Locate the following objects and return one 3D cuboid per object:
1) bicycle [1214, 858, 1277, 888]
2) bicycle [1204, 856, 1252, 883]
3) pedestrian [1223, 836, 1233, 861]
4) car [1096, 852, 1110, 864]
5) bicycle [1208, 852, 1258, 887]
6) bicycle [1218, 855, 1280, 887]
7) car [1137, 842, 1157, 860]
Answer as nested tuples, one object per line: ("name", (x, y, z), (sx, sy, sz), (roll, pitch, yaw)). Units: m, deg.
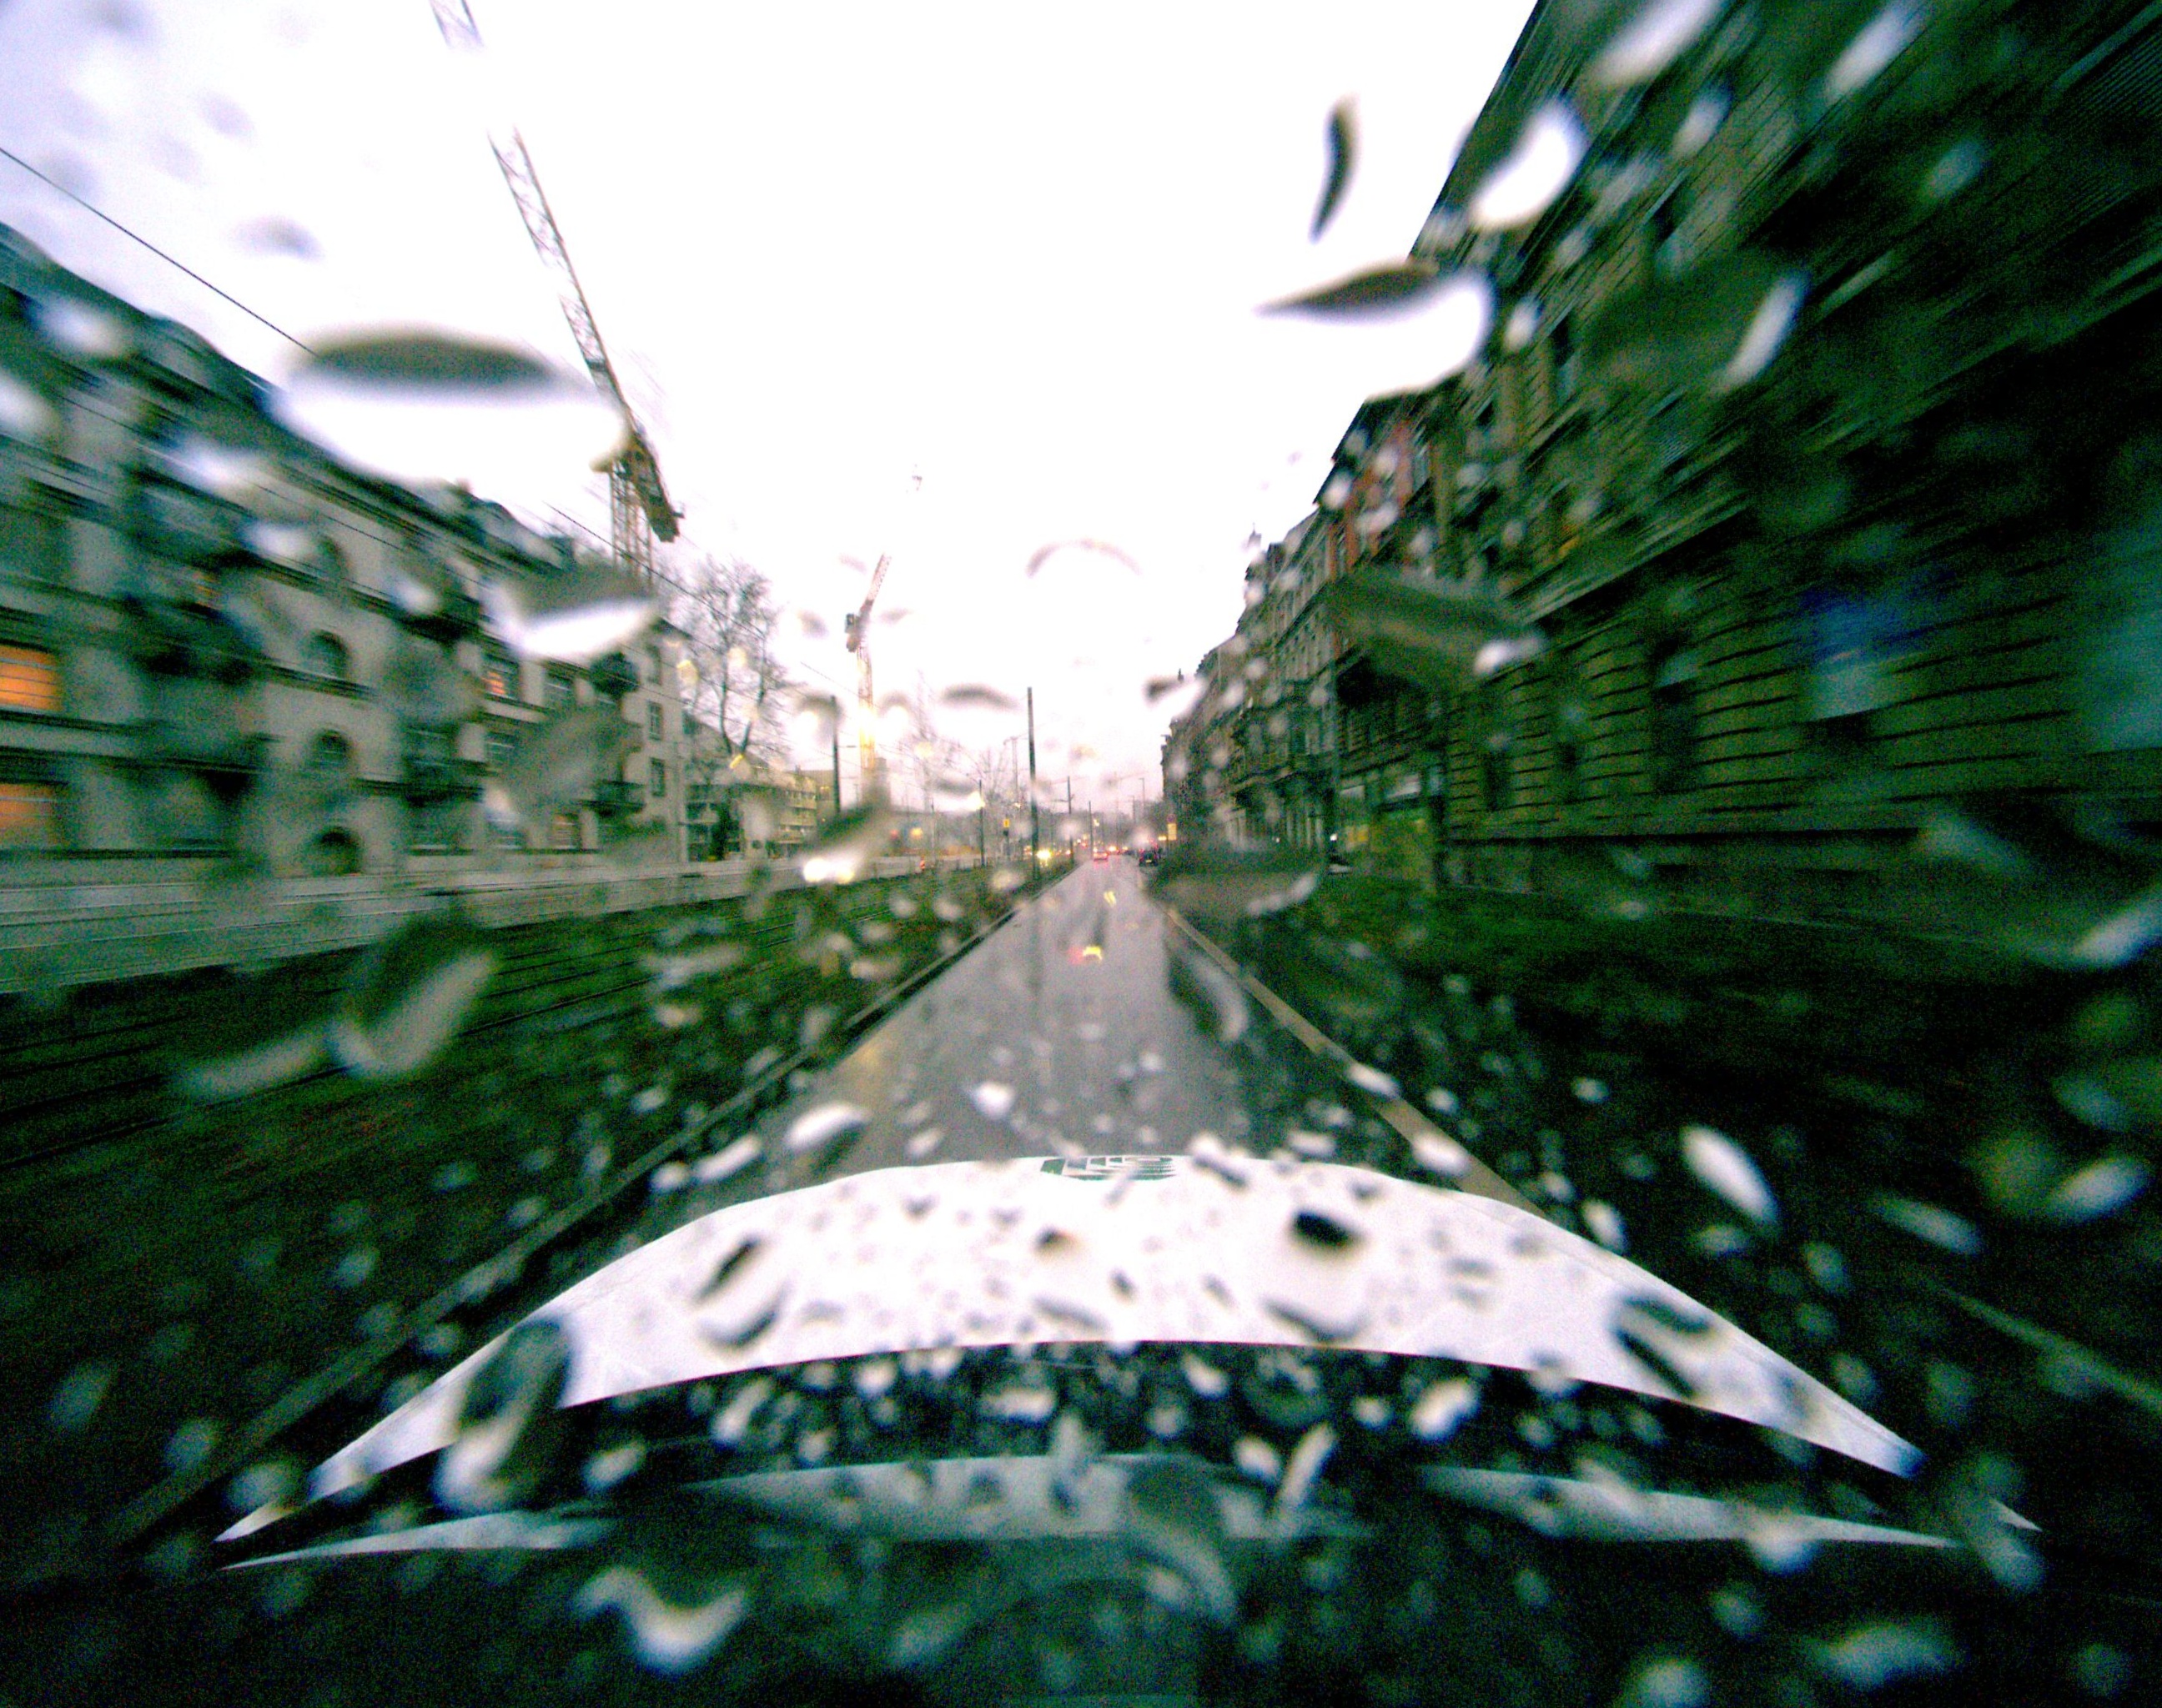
("bicycle", (6.219, 0.715, 30.899), (2.242, 1.057, 0.525), (-2, 0, -1))
("bicycle", (6.069, 0.632, 33.640), (1.846, 1.058, 0.471), (-2, 0, -2))
("pedestrian", (10.449, -0.407, 57.973), (0.600, 1.785, 0.528), (-2, 0, 1))
("car", (2.934, 0.518, 108.572), (1.776, 1.467, 3.151), (-2, 0, 3))
("bicycle", (5.991, 0.587, 32.078), (1.846, 1.290, 0.415), (-2, 0, -2))
("bicycle", (6.121, 0.612, 29.740), (2.143, 1.057, 0.525), (-2, 0, -5))
("car", (6.182, -0.290, 76.269), (1.791, 1.604, 3.774), (-2, 0, 4))
